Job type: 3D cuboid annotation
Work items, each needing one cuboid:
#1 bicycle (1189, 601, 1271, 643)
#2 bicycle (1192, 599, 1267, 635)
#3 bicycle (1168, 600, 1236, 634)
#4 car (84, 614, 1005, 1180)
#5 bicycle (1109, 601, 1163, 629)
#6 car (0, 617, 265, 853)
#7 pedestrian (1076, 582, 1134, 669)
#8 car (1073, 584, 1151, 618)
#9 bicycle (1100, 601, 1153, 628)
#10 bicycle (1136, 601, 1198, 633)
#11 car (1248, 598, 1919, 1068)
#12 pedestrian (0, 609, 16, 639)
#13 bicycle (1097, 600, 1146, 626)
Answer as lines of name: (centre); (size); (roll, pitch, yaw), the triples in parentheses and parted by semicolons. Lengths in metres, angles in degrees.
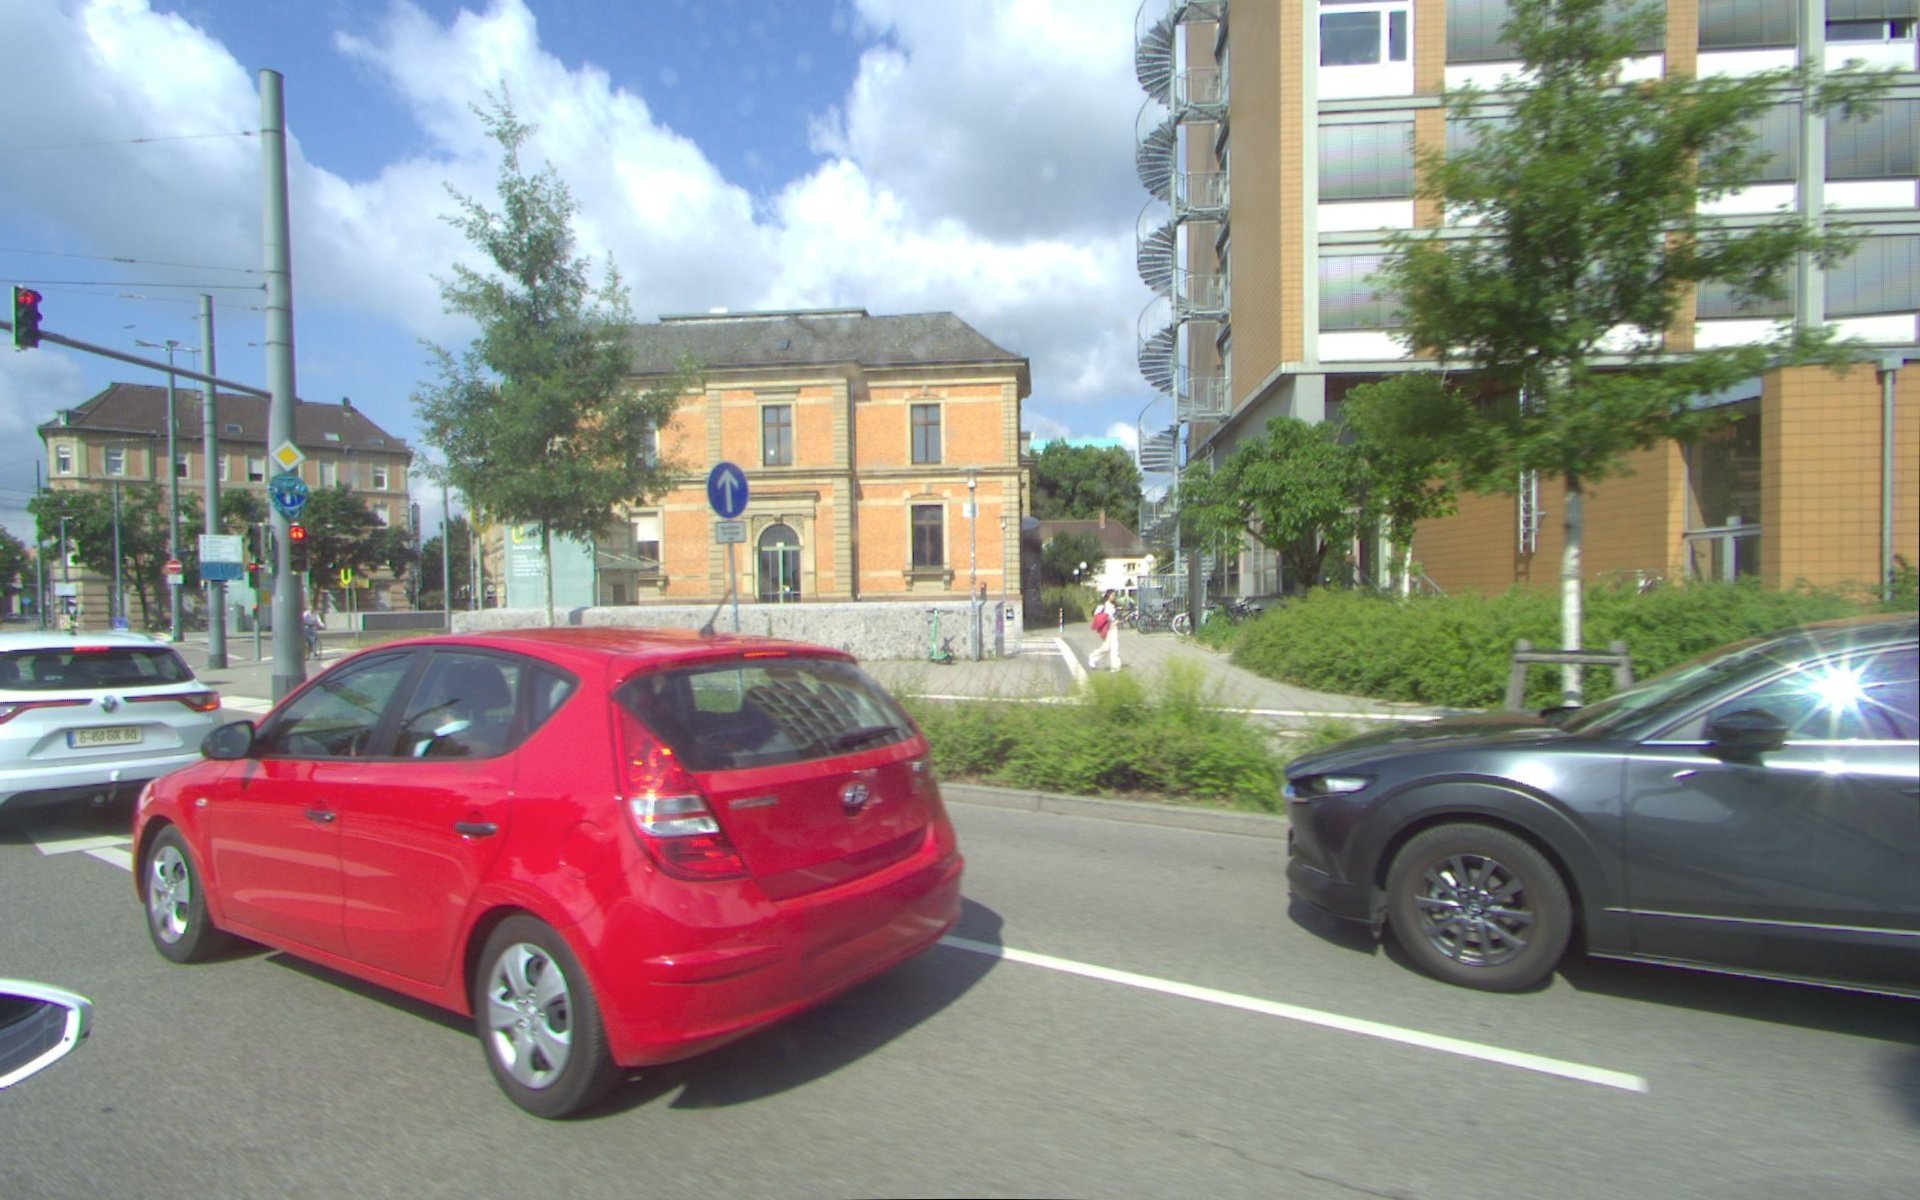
bicycle: (7.339, 0.595, 27.236); (2.031, 1.087, 0.666); (-1, 1, -3)
bicycle: (8.390, 0.534, 31.277); (2.031, 1.087, 1.037); (-1, 0, -3)
bicycle: (8.139, 0.565, 33.719); (2.031, 1.087, 1.037); (-1, 0, -3)
car: (-1.981, 0.805, 4.433); (4.009, 1.458, 1.813); (-1, -1, 32)
bicycle: (7.126, 0.605, 40.641); (2.031, 1.087, 0.748); (-1, 1, -3)
car: (-7.669, 0.914, 8.202); (4.276, 1.492, 1.842); (-1, 1, 35)
pedestrian: (2.926, 0.510, 20.249); (0.758, 1.709, 0.872); (-1, 1, -45)
car: (9.474, 0.080, 62.600); (4.624, 2.040, 2.000); (-1, 0, 4)
bicycle: (6.957, 0.588, 41.941); (2.031, 1.087, 1.044); (-1, 0, -3)
bicycle: (7.374, 0.593, 35.686); (2.031, 1.087, 0.748); (-1, 1, -3)
car: (3.491, 0.777, 4.093); (4.144, 1.527, 1.803); (-1, -1, 32)
pedestrian: (-50.030, 1.277, 52.383); (0.661, 1.556, 0.675); (-1, 1, -7)
bicycle: (7.049, 0.573, 43.749); (2.031, 1.087, 0.748); (-1, 1, -3)
